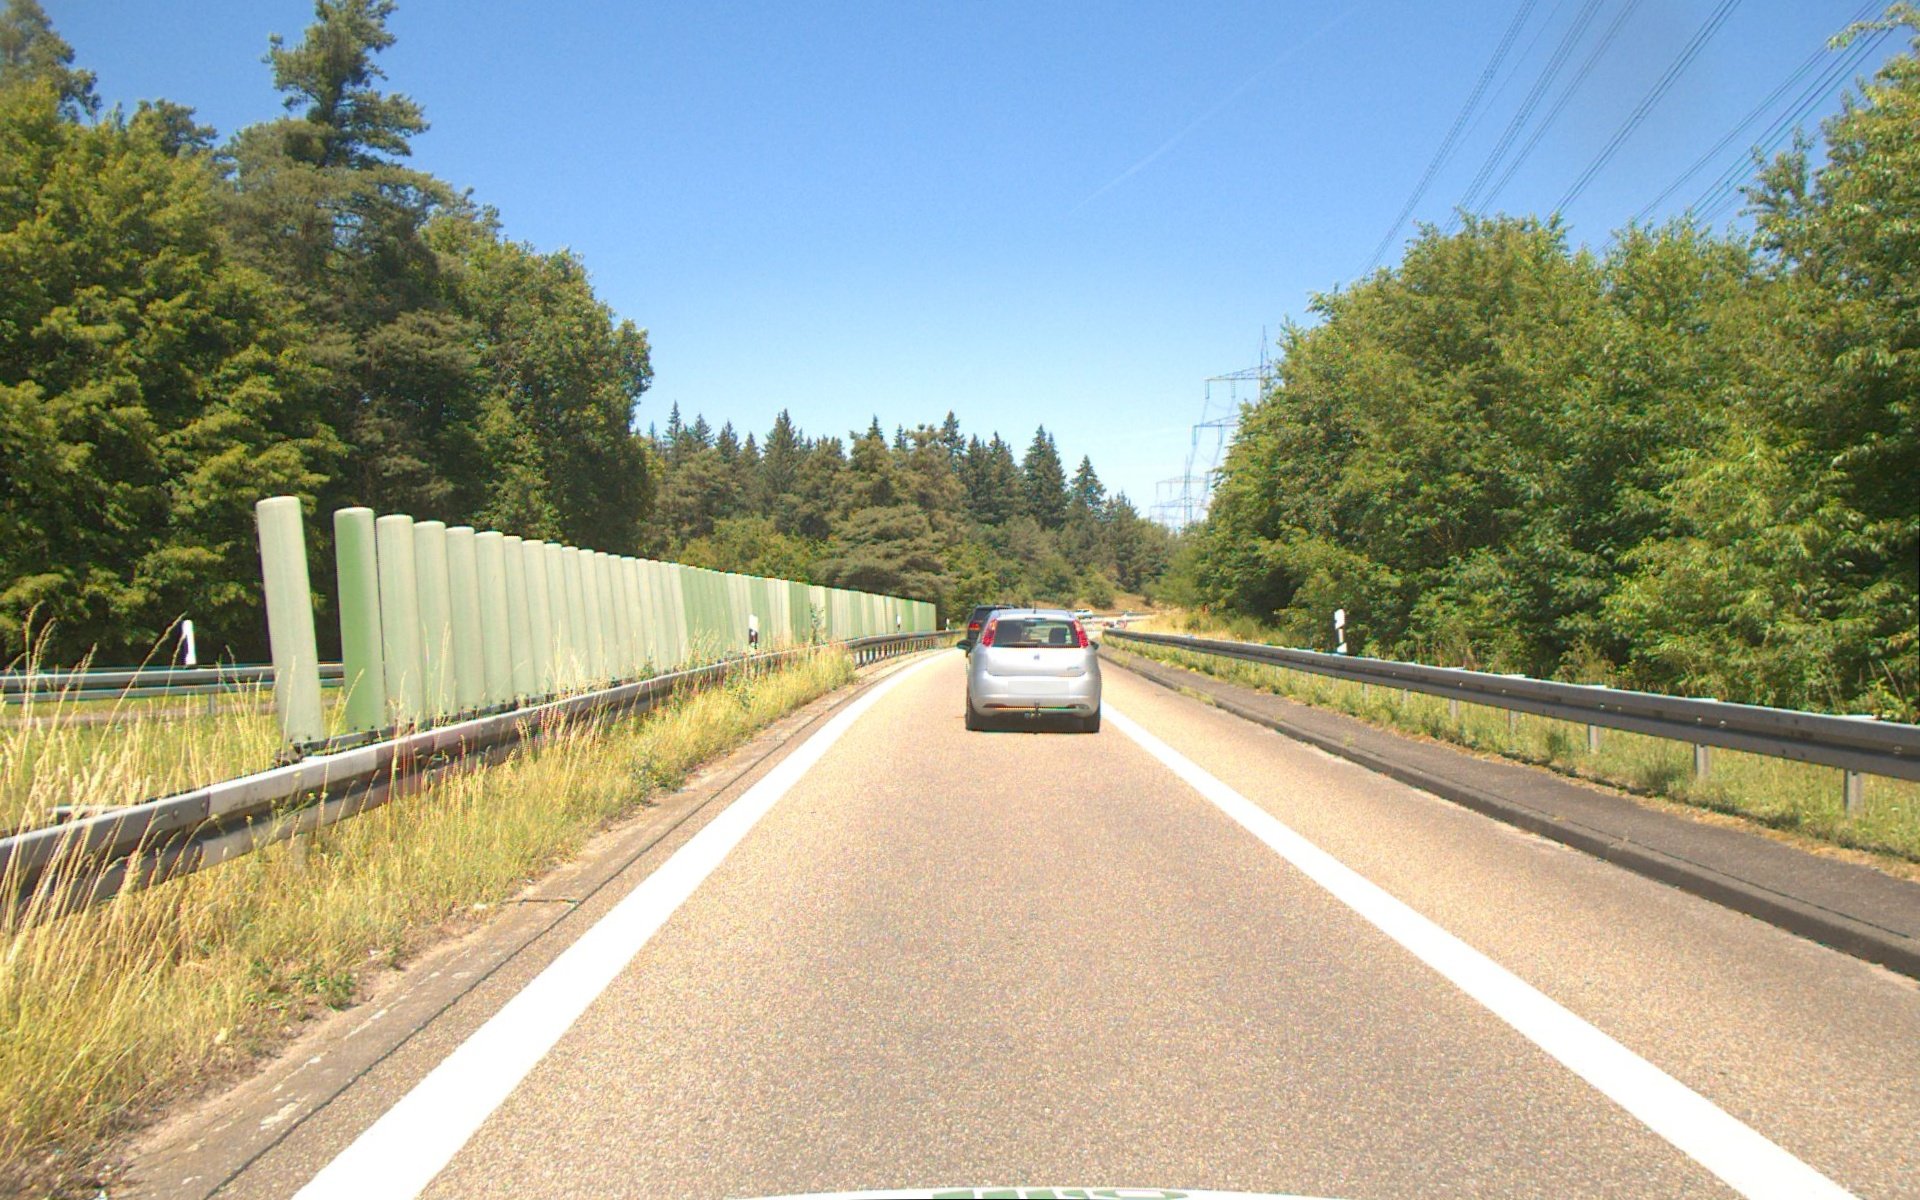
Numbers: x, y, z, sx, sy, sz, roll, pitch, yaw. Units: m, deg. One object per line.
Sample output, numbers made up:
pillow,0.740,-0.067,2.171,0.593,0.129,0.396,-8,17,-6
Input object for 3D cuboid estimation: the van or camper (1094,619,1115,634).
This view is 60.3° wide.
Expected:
van or camper,15.336,2.799,175.623,1.768,1.512,4.004,0,0,11

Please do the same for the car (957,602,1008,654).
car,0.782,0.931,56.248,1.671,1.705,3.398,0,0,2

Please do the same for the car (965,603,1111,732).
car,1.073,0.805,21.299,1.670,1.508,3.400,0,0,6
